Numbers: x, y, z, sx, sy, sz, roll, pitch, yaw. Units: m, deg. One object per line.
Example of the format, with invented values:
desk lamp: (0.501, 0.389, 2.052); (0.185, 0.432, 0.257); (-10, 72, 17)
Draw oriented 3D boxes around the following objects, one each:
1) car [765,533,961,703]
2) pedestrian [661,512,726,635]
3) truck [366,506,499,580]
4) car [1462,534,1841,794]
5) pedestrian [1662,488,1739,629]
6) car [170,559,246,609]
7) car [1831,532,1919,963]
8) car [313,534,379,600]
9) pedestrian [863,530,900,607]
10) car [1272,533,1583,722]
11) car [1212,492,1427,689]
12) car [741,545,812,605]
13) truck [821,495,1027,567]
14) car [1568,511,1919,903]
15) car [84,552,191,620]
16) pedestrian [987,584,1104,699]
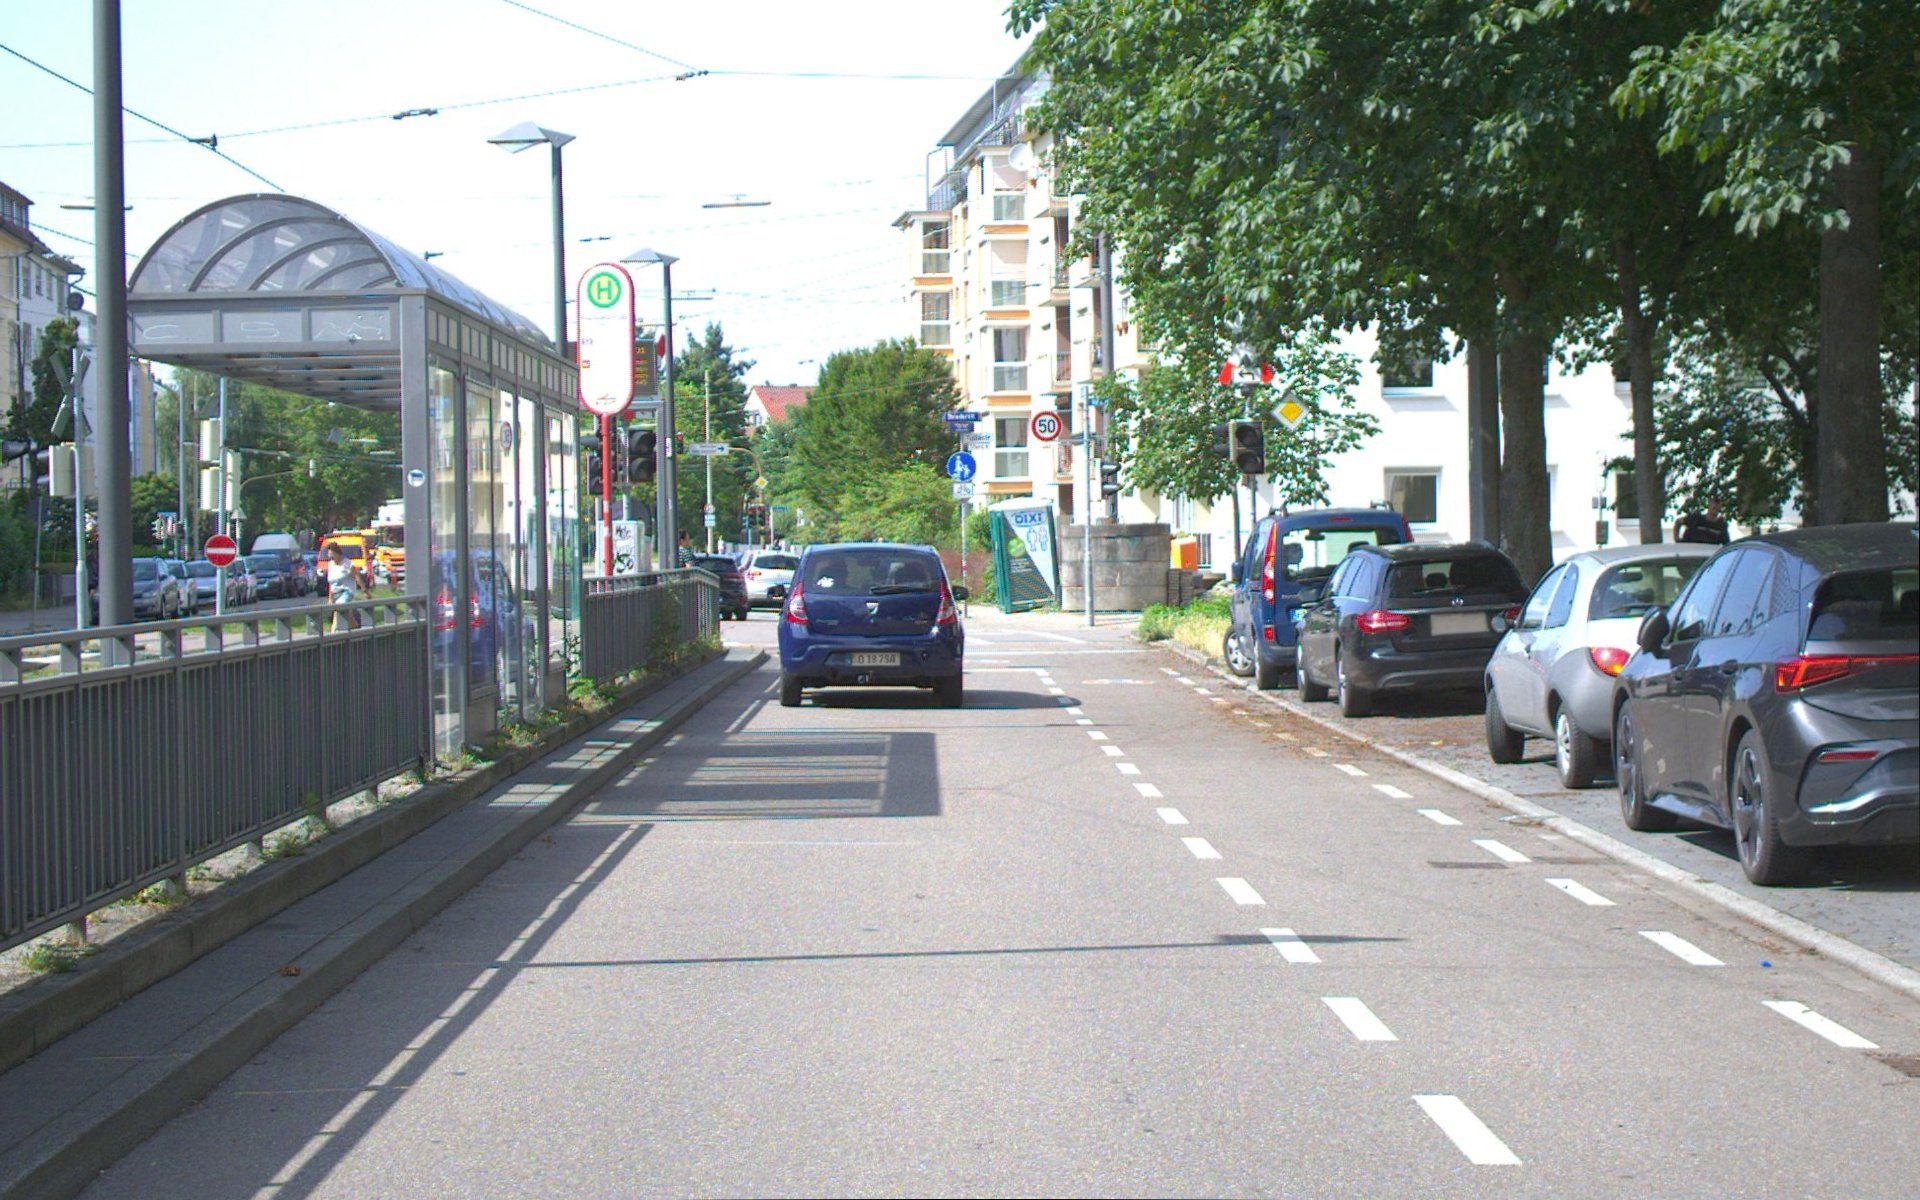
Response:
car: (-0.915, 0.146, 32.823); (1.744, 1.502, 4.000); (1, 0, -1)
pedestrian: (-3.669, -0.367, 47.328); (0.845, 1.662, 0.799); (-1, 0, -3)
truck: (-23.819, -2.614, 155.707); (2.598, 3.175, 8.377); (-2, 1, 16)
car: (4.287, 0.350, 21.788); (1.590, 1.440, 3.598); (-3, 1, 0)
pedestrian: (9.053, -0.507, 42.048); (0.744, 1.690, 0.767); (-1, 1, 0)
car: (-22.211, -0.485, 101.685); (1.768, 1.437, 4.001); (1, 0, -6)
car: (4.363, 0.501, 10.923); (1.835, 1.518, 4.254); (-3, 1, -3)
car: (-22.346, -1.219, 125.280); (1.993, 2.267, 4.835); (2, 1, -7)
pedestrian: (-1.874, -0.753, 81.547); (0.701, 1.783, 1.030); (-4, 1, -4)
car: (4.100, 0.185, 30.935); (1.917, 1.437, 4.797); (-3, 1, -2)
car: (3.731, -0.148, 36.286); (1.823, 1.889, 4.184); (-2, 2, 1)
car: (-4.607, -0.623, 86.086); (1.622, 1.460, 3.511); (1, 0, -5)
truck: (-1.837, -3.480, 174.528); (10.131, 3.459, 2.676); (1, 0, -11)
car: (4.230, 0.382, 16.521); (1.725, 1.578, 4.677); (-2, 1, 0)
car: (-20.484, -0.356, 85.760); (1.993, 1.639, 4.001); (1, 0, -5)
pedestrian: (1.533, 0.735, 63.132); (1.993, 2.007, 4.000); (1, 0, 0)
